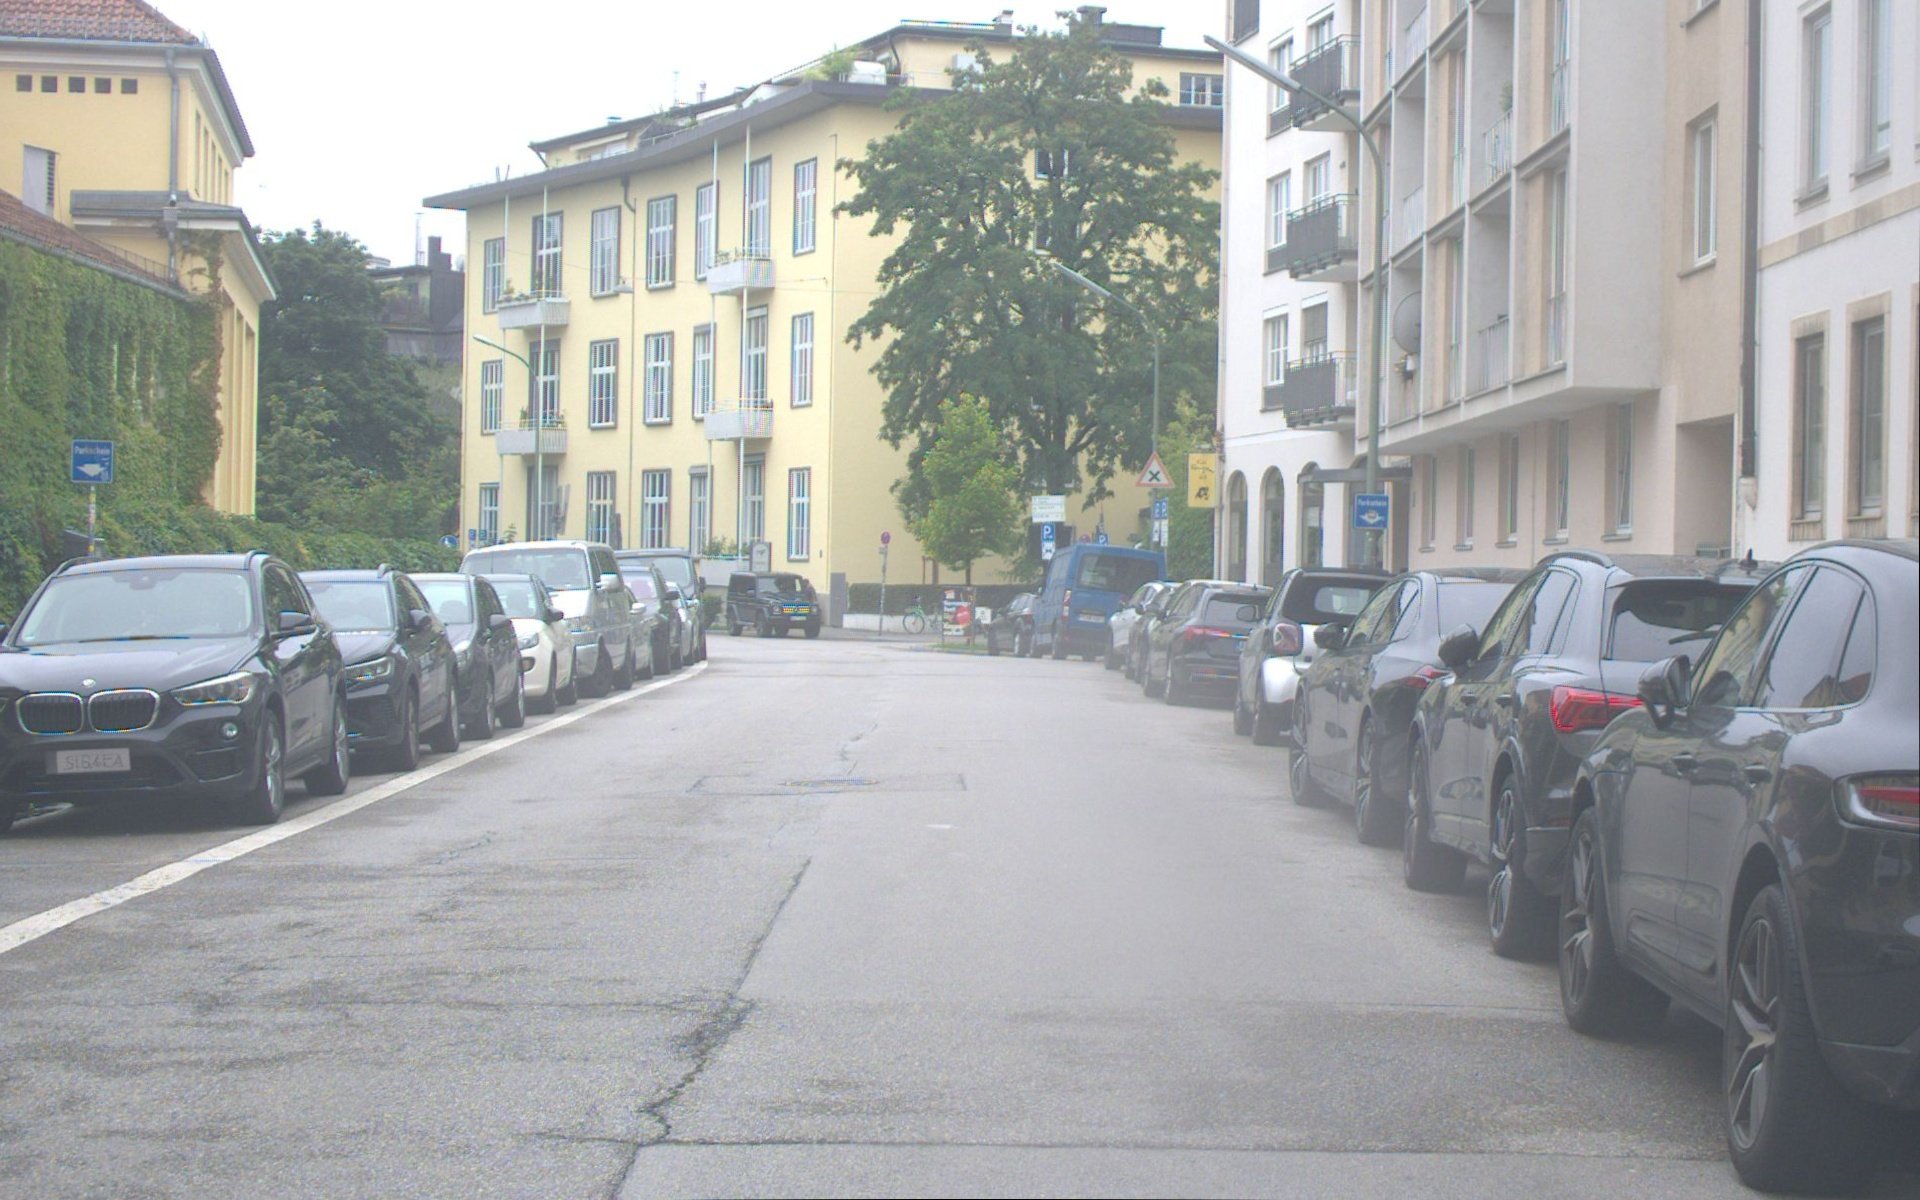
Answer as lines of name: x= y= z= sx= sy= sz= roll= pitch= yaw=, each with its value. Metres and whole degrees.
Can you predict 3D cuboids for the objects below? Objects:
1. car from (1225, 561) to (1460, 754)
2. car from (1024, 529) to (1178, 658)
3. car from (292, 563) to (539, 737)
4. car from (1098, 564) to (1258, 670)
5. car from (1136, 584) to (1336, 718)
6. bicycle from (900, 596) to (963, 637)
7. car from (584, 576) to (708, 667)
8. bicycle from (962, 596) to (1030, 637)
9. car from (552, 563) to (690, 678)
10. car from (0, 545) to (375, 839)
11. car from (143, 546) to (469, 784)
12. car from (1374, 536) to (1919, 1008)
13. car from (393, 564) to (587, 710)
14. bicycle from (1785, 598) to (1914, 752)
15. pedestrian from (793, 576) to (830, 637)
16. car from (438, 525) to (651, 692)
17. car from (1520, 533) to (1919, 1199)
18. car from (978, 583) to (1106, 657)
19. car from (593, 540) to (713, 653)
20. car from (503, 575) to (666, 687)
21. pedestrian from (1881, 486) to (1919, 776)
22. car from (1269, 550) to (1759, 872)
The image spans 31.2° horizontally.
car: x=3.300 y=0.471 z=30.070 sx=1.650 sy=1.490 sz=2.881 roll=4 pitch=0 yaw=0
car: x=2.734 y=-0.076 z=67.867 sx=2.078 sy=2.226 sz=5.245 roll=6 pitch=-2 yaw=-6
car: x=-4.872 y=0.417 z=31.230 sx=1.603 sy=1.425 sz=4.252 roll=-2 pitch=0 yaw=-1
car: x=3.504 y=0.254 z=56.173 sx=1.785 sy=1.528 sz=4.649 roll=4 pitch=0 yaw=-5
car: x=3.208 y=0.556 z=40.867 sx=1.745 sy=1.383 sz=4.954 roll=3 pitch=0 yaw=-2
bicycle: x=-0.876 y=0.504 z=105.388 sx=1.926 sy=1.197 sz=0.594 roll=2 pitch=0 yaw=37
car: x=-5.216 y=0.332 z=57.553 sx=1.694 sy=1.388 sz=4.501 roll=-3 pitch=0 yaw=-1
bicycle: x=1.093 y=0.501 z=104.174 sx=1.923 sy=1.197 sz=0.595 roll=2 pitch=0 yaw=14
car: x=-5.110 y=0.286 z=52.246 sx=1.697 sy=1.637 sz=4.490 roll=-1 pitch=0 yaw=-1
car: x=-4.878 y=0.491 z=21.299 sx=1.789 sy=1.581 sz=4.818 roll=-1 pitch=0 yaw=-2
car: x=-4.866 y=0.439 z=26.156 sx=1.724 sy=1.624 sz=4.466 roll=-1 pitch=0 yaw=-2
car: x=2.895 y=0.608 z=14.566 sx=1.645 sy=1.584 sz=4.634 roll=4 pitch=0 yaw=0
car: x=-4.933 y=0.363 z=36.484 sx=1.591 sy=1.436 sz=4.019 roll=-1 pitch=0 yaw=-2
bicycle: x=7.425 y=0.606 z=28.782 sx=0.529 sy=1.213 sz=2.103 roll=2 pitch=0 yaw=1
pedestrian: x=-4.534 y=0.197 z=104.662 sx=0.874 sy=1.817 sz=0.798 roll=2 pitch=0 yaw=-20
car: x=-4.995 y=0.089 z=41.940 sx=1.887 sy=1.883 sz=4.773 roll=-1 pitch=0 yaw=1
car: x=2.838 y=0.649 z=9.528 sx=1.840 sy=1.517 sz=4.709 roll=3 pitch=0 yaw=1
car: x=1.735 y=0.413 z=74.018 sx=1.676 sy=1.384 sz=4.307 roll=5 pitch=-1 yaw=-12
car: x=-5.625 y=-0.060 z=62.803 sx=2.072 sy=1.957 sz=5.350 roll=-1 pitch=0 yaw=-5
car: x=-5.124 y=0.394 z=47.487 sx=1.653 sy=1.409 sz=4.771 roll=-2 pitch=0 yaw=0
pedestrian: x=6.172 y=0.206 z=21.192 sx=0.723 sy=1.757 sz=0.904 roll=2 pitch=-2 yaw=1
car: x=2.997 y=0.533 z=19.766 sx=1.802 sy=1.479 sz=5.320 roll=4 pitch=0 yaw=-1
